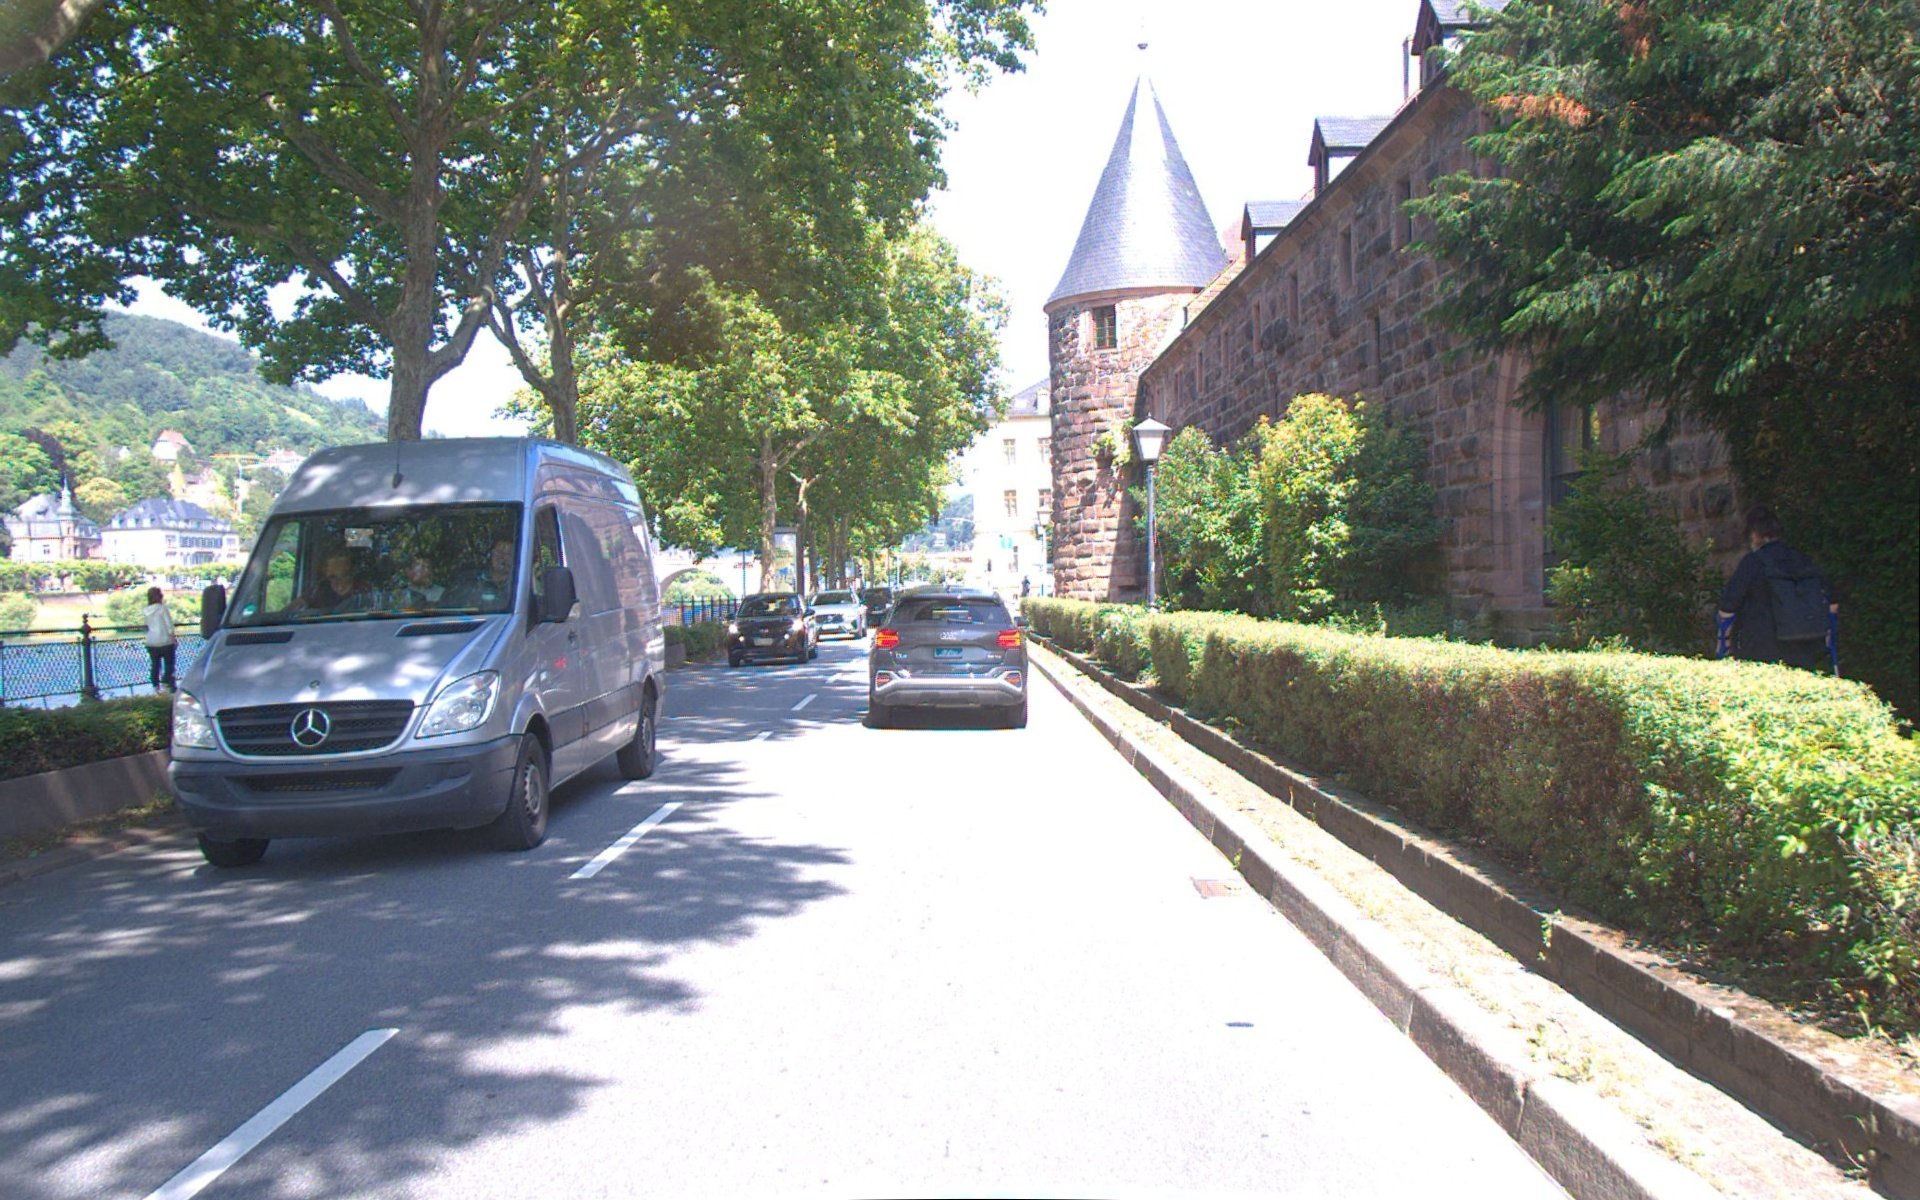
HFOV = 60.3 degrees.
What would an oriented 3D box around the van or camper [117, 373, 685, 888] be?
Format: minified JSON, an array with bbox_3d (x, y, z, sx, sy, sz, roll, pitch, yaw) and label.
[{"bbox_3d":[-3.443,0.152,11.674,1.921,2.612,5.840,-3,0,0],"label":"van or camper"}]

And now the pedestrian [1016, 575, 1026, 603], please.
[{"bbox_3d":[3.688,-0.672,99.984,0.545,1.661,0.660,0,0,0],"label":"pedestrian"}]

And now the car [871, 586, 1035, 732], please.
[{"bbox_3d":[-0.116,0.610,19.166,1.713,1.520,3.628,1,0,-2],"label":"car"}]

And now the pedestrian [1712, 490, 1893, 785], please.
[{"bbox_3d":[5.035,0.216,9.925,0.684,1.681,0.705,-2,0,2],"label":"pedestrian"}]

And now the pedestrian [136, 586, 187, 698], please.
[{"bbox_3d":[-12.482,0.654,25.865,0.572,1.740,0.403,1,0,-3],"label":"pedestrian"}]

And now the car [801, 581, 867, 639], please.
[{"bbox_3d":[-4.064,0.315,54.063,1.839,1.728,4.257,-3,0,-1],"label":"car"}]

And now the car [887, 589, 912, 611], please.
[{"bbox_3d":[-4.443,-0.001,122.692,1.581,1.549,3.477,-2,0,1],"label":"car"}]

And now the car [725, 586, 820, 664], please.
[{"bbox_3d":[-3.956,0.485,35.322,1.616,1.494,3.778,-2,0,-1],"label":"car"}]

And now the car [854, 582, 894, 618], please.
[{"bbox_3d":[-4.239,-0.017,81.767,1.727,1.676,4.089,-2,0,0],"label":"car"}]

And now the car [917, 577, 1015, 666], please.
[{"bbox_3d":[0.129,0.381,32.587,1.764,1.589,3.716,-2,0,0],"label":"car"}]

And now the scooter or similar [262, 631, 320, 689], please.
[{"bbox_3d":[-11.960,1.057,29.573,0.618,0.985,1.012,1,0,-1],"label":"scooter or similar"}]

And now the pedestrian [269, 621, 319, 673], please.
[{"bbox_3d":[-11.948,0.838,29.677,0.595,0.899,0.705,-1,0,-1],"label":"pedestrian"}]
